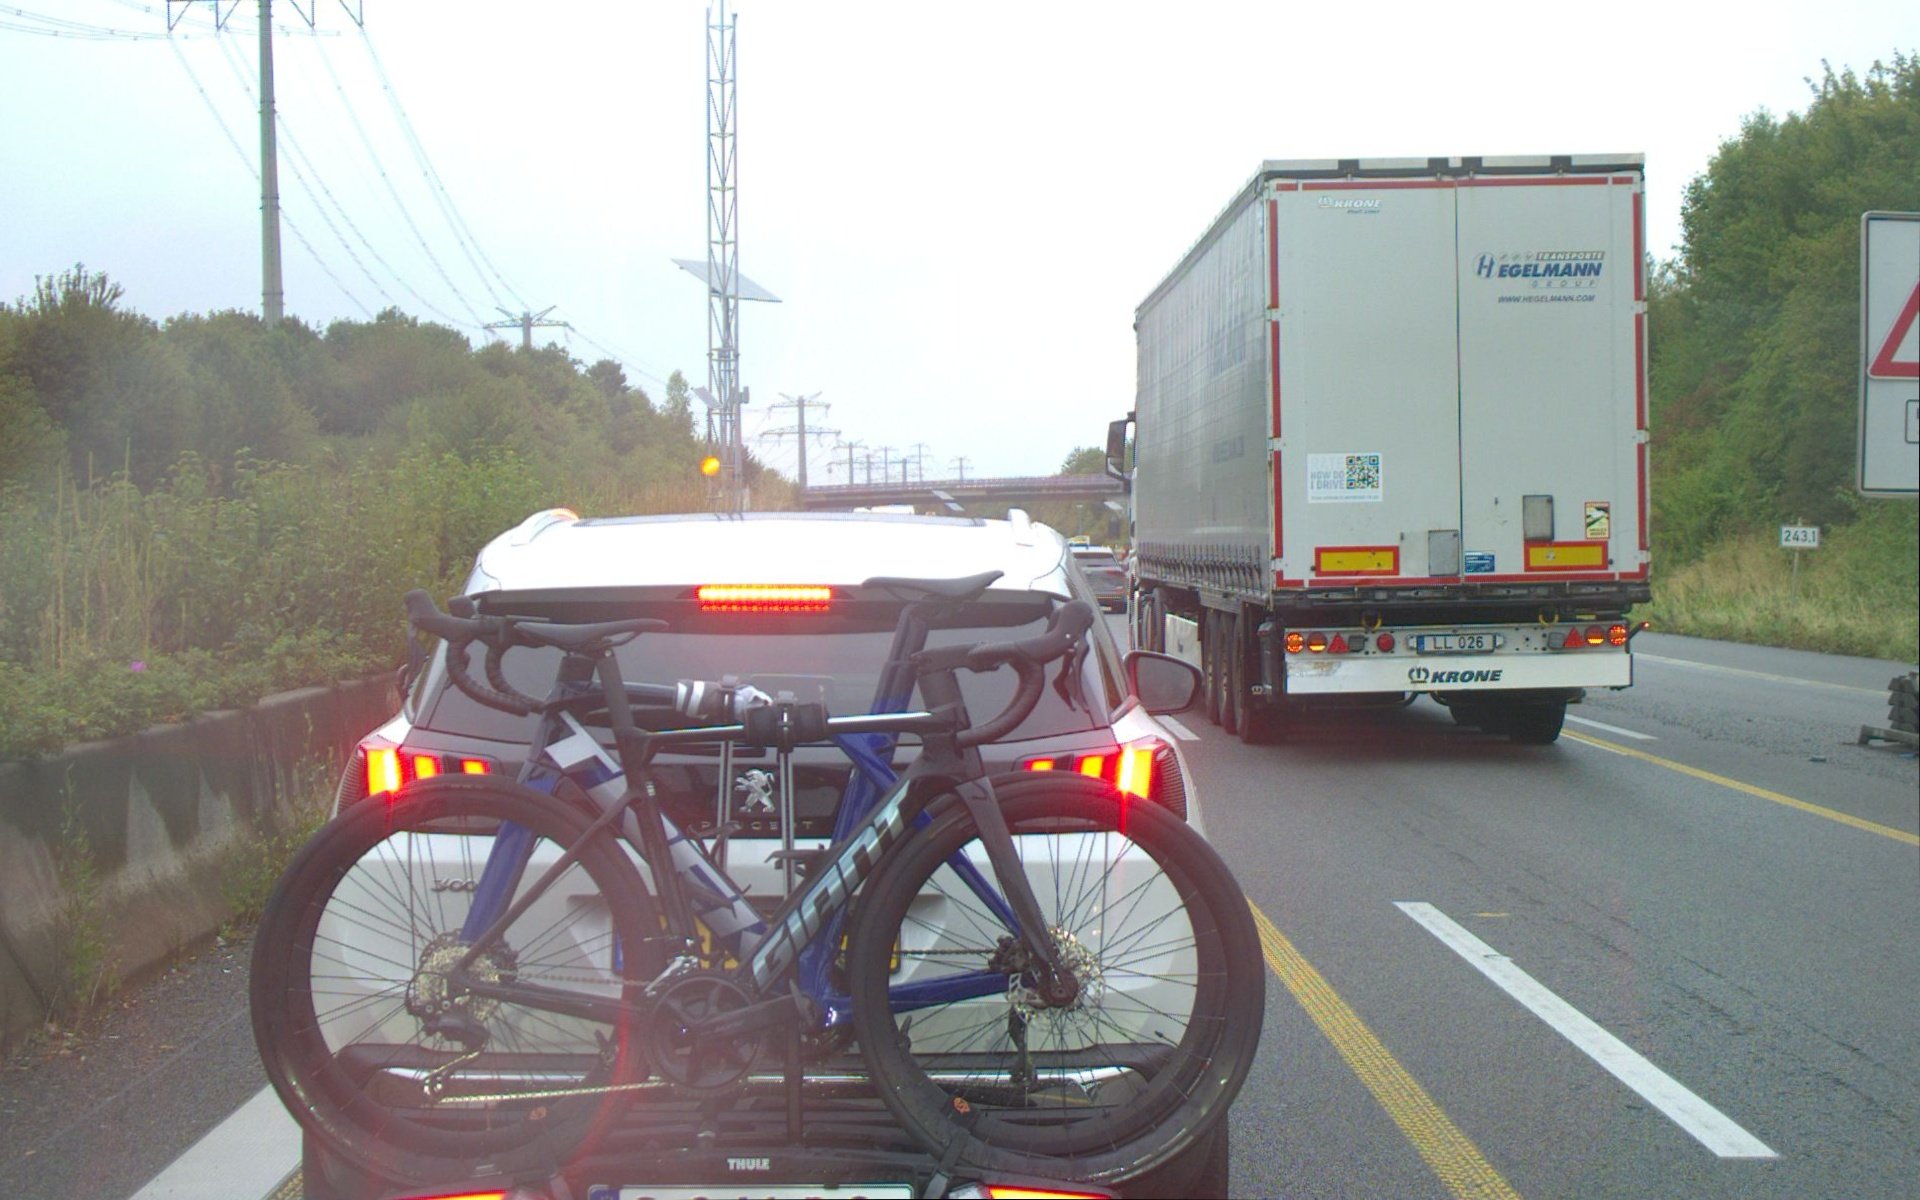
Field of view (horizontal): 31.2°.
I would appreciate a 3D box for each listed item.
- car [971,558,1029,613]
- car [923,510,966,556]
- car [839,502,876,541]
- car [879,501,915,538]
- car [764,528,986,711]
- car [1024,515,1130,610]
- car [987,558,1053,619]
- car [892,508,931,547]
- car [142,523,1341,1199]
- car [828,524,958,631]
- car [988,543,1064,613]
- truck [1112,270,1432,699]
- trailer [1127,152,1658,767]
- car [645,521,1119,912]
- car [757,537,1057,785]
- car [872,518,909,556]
[{"bbox_3d":[1.539,-0.569,132.774,2.148,1.966,4.001,0,2,-1],"label":"car"},{"bbox_3d":[-0.711,-3.024,154.339,1.931,1.966,4.001,0,2,-1],"label":"car"},{"bbox_3d":[-6.602,-5.072,221.812,2.257,2.416,4.001,0,2,-1],"label":"car"},{"bbox_3d":[-3.430,-4.410,187.441,1.931,1.966,4.001,0,2,-1],"label":"car"},{"bbox_3d":[-0.733,0.124,30.701,1.850,1.525,4.000,0,1,-1],"label":"car"},{"bbox_3d":[2.508,-0.846,74.694,2.110,1.966,4.001,0,2,-1],"label":"car"},{"bbox_3d":[2.063,-0.422,118.849,2.148,1.966,4.001,0,2,-1],"label":"car"},{"bbox_3d":[-2.456,-3.693,175.097,1.931,1.904,4.001,0,2,-1],"label":"car"},{"bbox_3d":[-0.364,0.601,7.702,1.850,1.525,4.769,0,1,-1],"label":"car"},{"bbox_3d":[-0.984,-0.360,51.139,1.850,1.525,4.000,0,1,-1],"label":"car"},{"bbox_3d":[1.960,-0.675,103.300,2.148,1.966,4.001,0,2,-1],"label":"car"},{"bbox_3d":[3.105,-1.156,35.880,2.660,4.062,6.539,0,1,-1],"label":"truck"},{"bbox_3d":[3.191,-1.055,29.575,2.692,4.062,13.634,0,1,-1],"label":"trailer"},{"bbox_3d":[-0.326,0.419,15.440,1.850,1.525,4.000,0,1,-1],"label":"car"},{"bbox_3d":[-0.348,0.342,23.214,1.850,1.525,4.000,0,1,-1],"label":"car"},{"bbox_3d":[-3.661,-3.343,182.076,1.931,1.966,4.001,0,2,-1],"label":"car"}]
